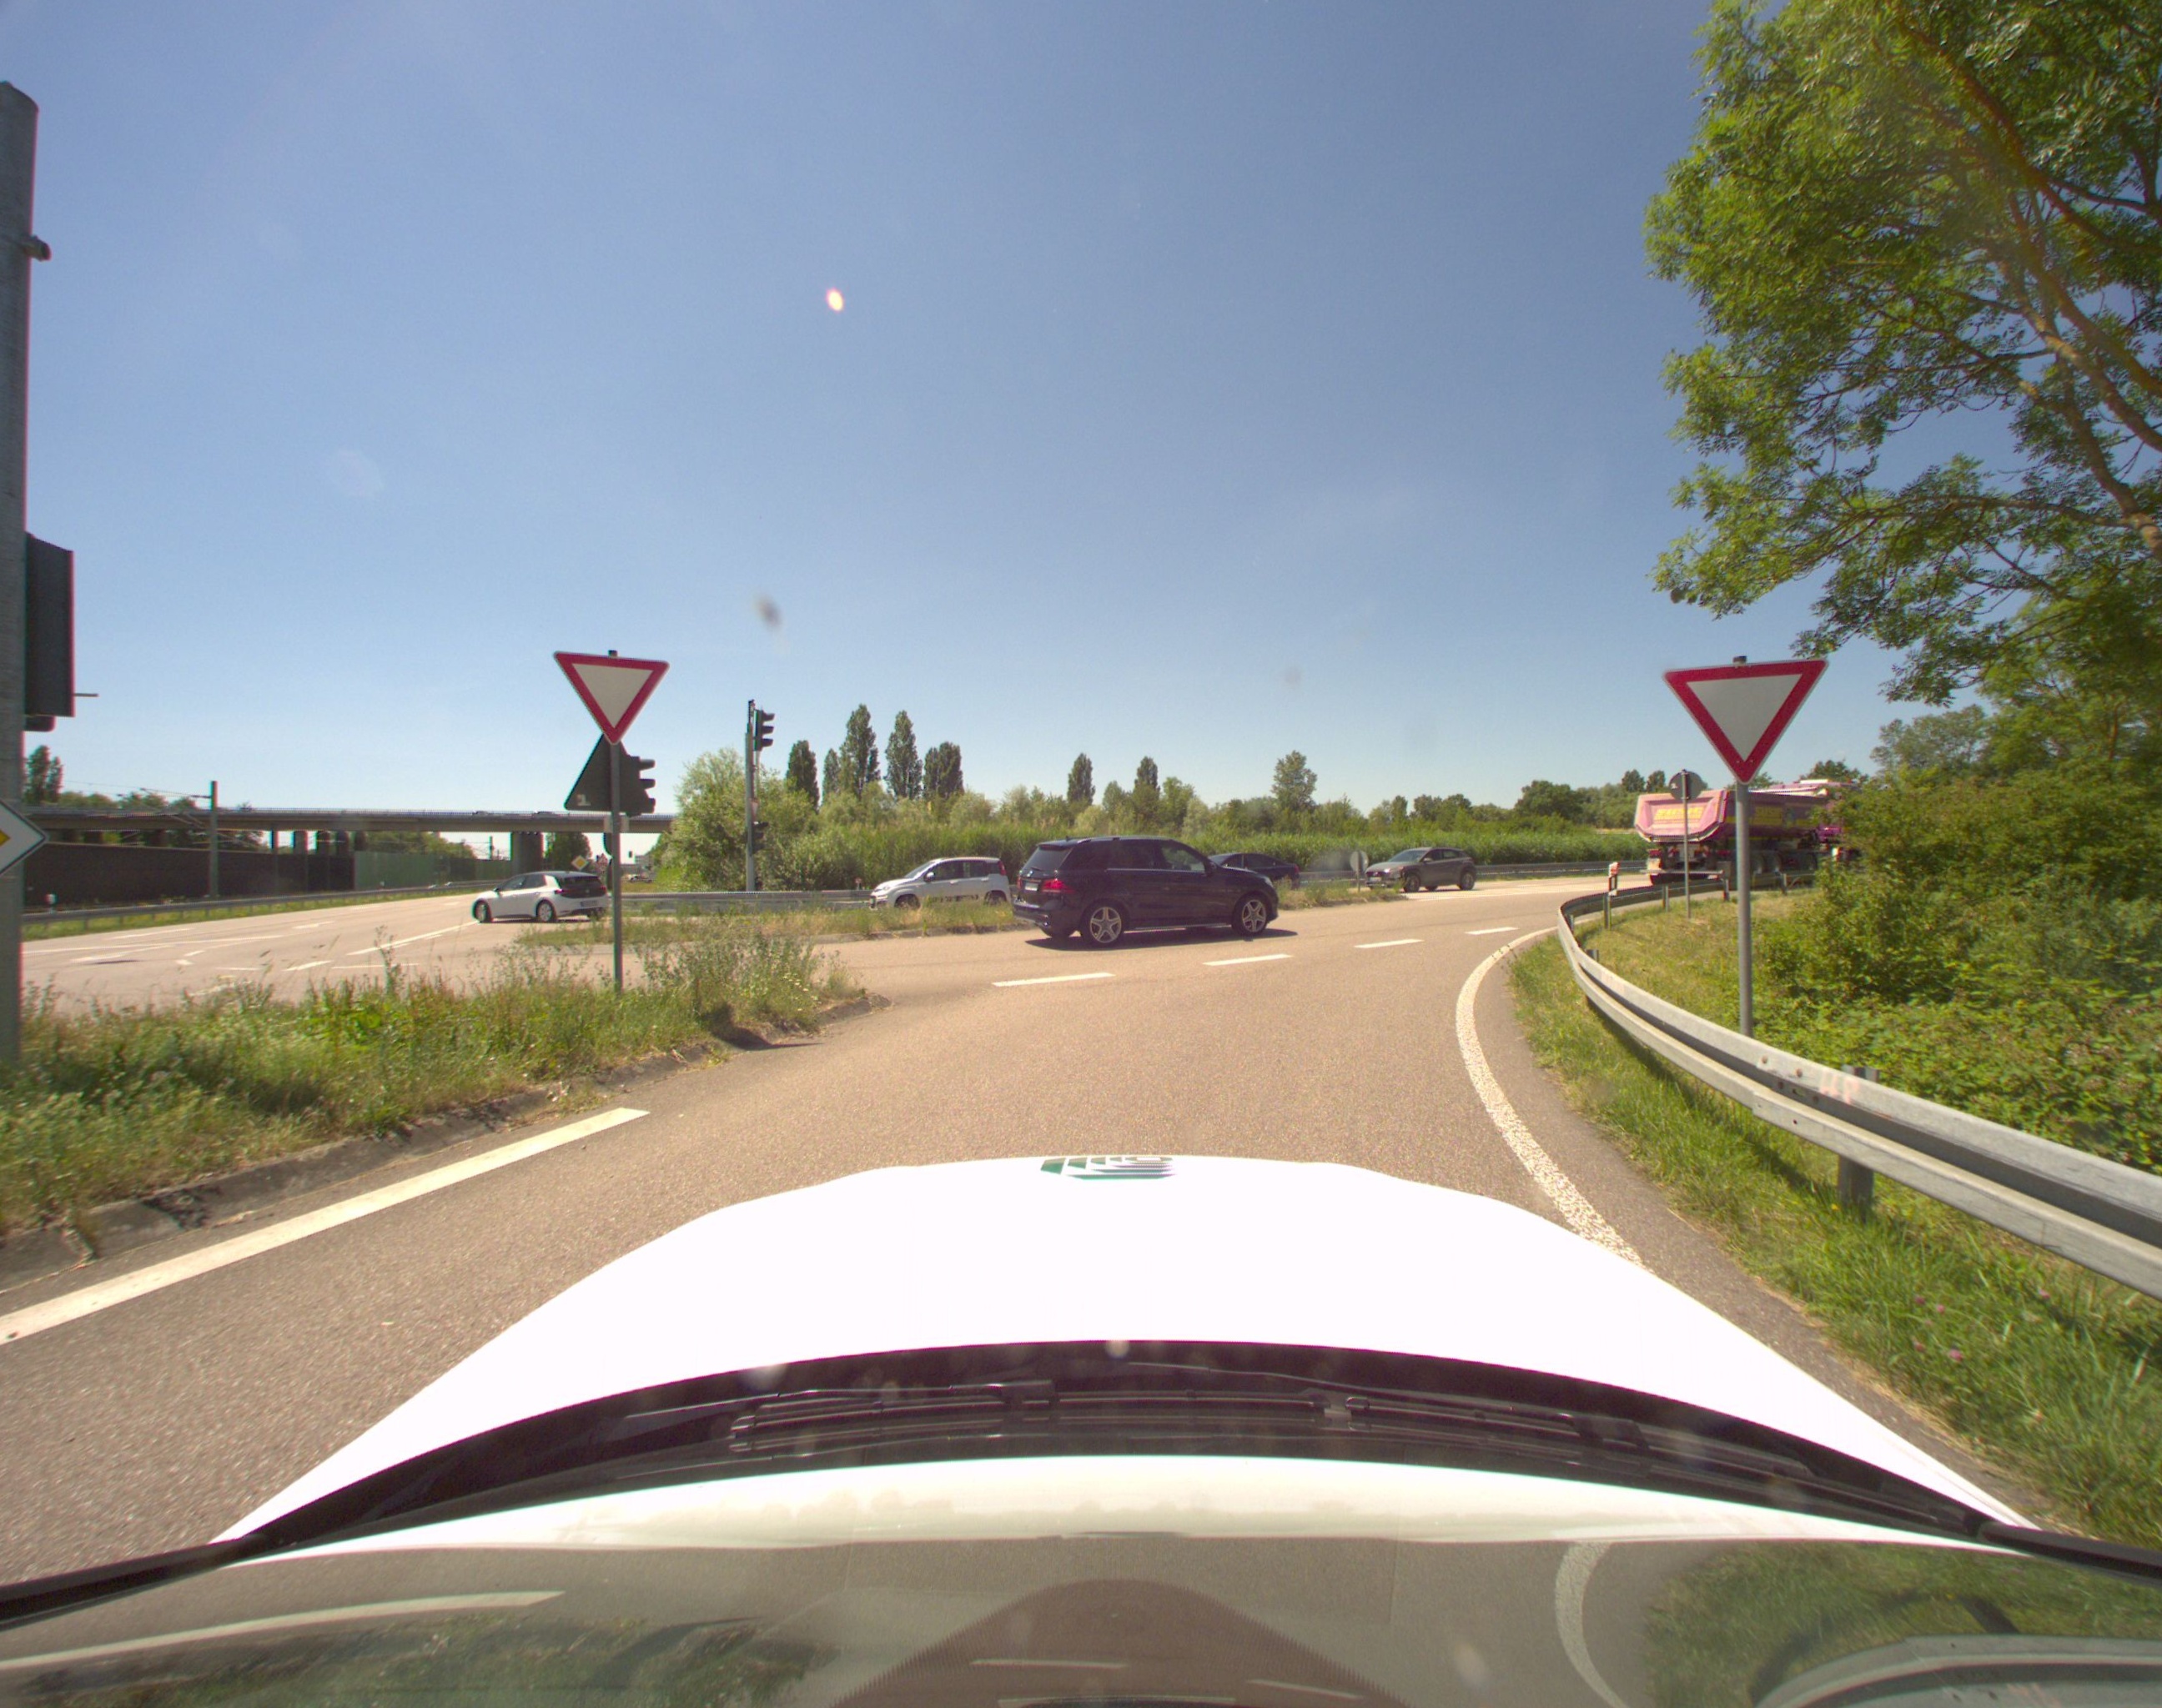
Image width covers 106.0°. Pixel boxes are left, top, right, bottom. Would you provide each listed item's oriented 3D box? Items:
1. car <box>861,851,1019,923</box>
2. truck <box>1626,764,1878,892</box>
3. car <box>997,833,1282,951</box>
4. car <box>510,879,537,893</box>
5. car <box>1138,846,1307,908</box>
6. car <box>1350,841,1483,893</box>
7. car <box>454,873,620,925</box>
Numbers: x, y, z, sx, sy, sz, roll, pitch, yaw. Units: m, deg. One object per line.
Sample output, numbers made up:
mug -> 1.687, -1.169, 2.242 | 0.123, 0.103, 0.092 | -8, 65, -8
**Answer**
car -> -3.683, 0.805, 21.313 | 3.726, 1.631, 1.719 | -2, 0, -27
truck -> 23.750, -0.911, 28.488 | 11.922, 3.821, 2.815 | -2, 0, -30
car -> 1.050, 0.543, 14.144 | 4.607, 1.768, 1.917 | -1, 0, -27
car -> -63.580, 3.598, 92.925 | 2.005, 1.398, 4.367 | -2, 0, -27
car -> 4.427, 0.669, 25.334 | 4.948, 1.631, 1.918 | -2, 0, -25
car -> 11.771, 0.422, 28.536 | 4.245, 1.631, 1.918 | -2, 0, -25
car -> -16.805, 1.381, 25.186 | 4.355, 1.398, 2.010 | -2, 0, 19
